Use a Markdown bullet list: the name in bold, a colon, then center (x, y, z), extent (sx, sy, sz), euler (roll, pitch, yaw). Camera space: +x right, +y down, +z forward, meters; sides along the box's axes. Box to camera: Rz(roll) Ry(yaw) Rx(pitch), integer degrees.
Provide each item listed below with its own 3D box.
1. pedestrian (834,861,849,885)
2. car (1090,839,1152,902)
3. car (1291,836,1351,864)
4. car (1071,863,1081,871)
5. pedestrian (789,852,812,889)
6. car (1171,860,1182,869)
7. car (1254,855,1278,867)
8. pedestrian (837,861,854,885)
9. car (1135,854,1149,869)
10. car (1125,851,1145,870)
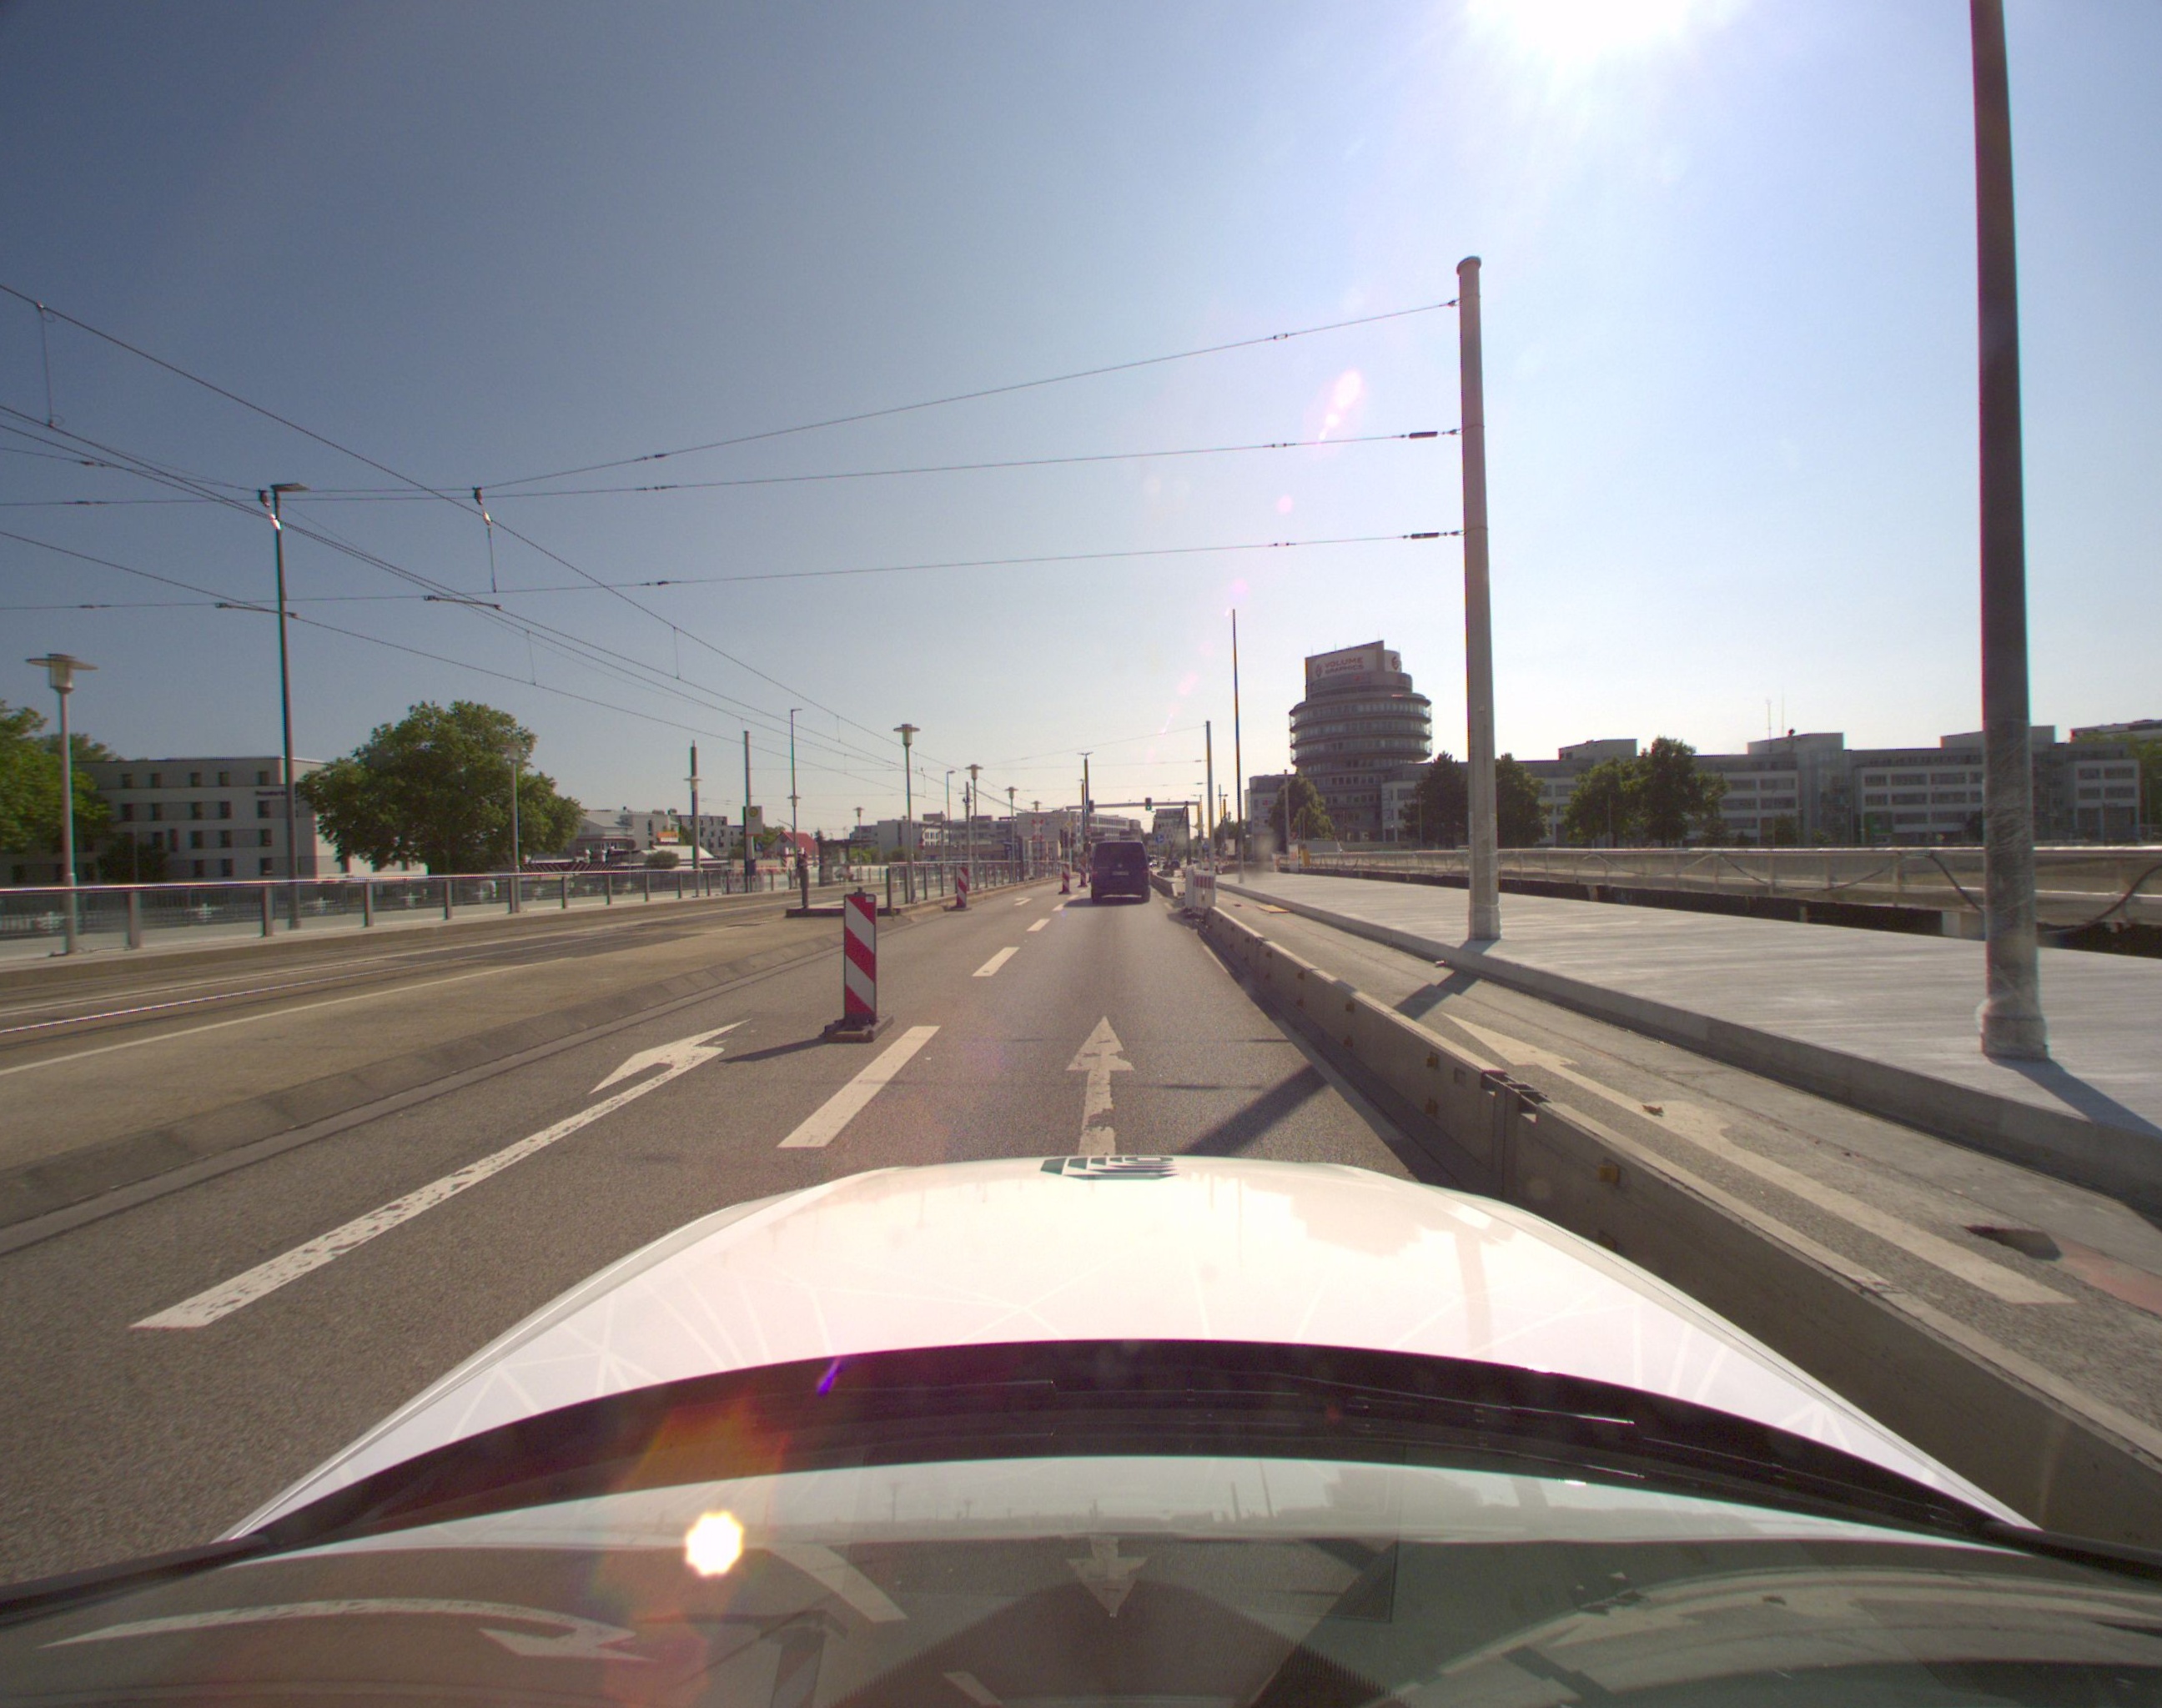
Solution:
- **pedestrian**: center (-12.918, 1.047, 43.973), extent (0.645, 1.274, 0.454), euler (-1, 0, 6)
- **car**: center (1.328, 0.492, 27.001), extent (1.880, 1.934, 4.003), euler (0, 1, 3)
- **car**: center (25.890, -0.479, 87.879), extent (5.961, 2.887, 2.334), euler (-1, 1, -15)
- **car**: center (-0.940, 2.503, 157.568), extent (1.740, 1.486, 4.002), euler (-2, 0, 2)
- **pedestrian**: center (-12.724, 0.747, 36.943), extent (0.655, 1.654, 0.742), euler (-2, 0, 14)
- **car**: center (16.481, 1.782, 140.151), extent (1.735, 1.475, 3.891), euler (-1, -1, 6)
- **car**: center (30.564, 1.159, 134.581), extent (3.796, 1.797, 1.683), euler (0, 1, 3)
- **pedestrian**: center (-12.856, 1.040, 44.560), extent (0.645, 1.274, 0.698), euler (-1, 0, 6)
- **car**: center (7.730, 0.922, 102.466), extent (1.637, 1.728, 3.723), euler (0, 0, 6)
- **car**: center (4.933, 0.571, 74.496), extent (1.637, 1.728, 4.007), euler (0, 0, 6)
